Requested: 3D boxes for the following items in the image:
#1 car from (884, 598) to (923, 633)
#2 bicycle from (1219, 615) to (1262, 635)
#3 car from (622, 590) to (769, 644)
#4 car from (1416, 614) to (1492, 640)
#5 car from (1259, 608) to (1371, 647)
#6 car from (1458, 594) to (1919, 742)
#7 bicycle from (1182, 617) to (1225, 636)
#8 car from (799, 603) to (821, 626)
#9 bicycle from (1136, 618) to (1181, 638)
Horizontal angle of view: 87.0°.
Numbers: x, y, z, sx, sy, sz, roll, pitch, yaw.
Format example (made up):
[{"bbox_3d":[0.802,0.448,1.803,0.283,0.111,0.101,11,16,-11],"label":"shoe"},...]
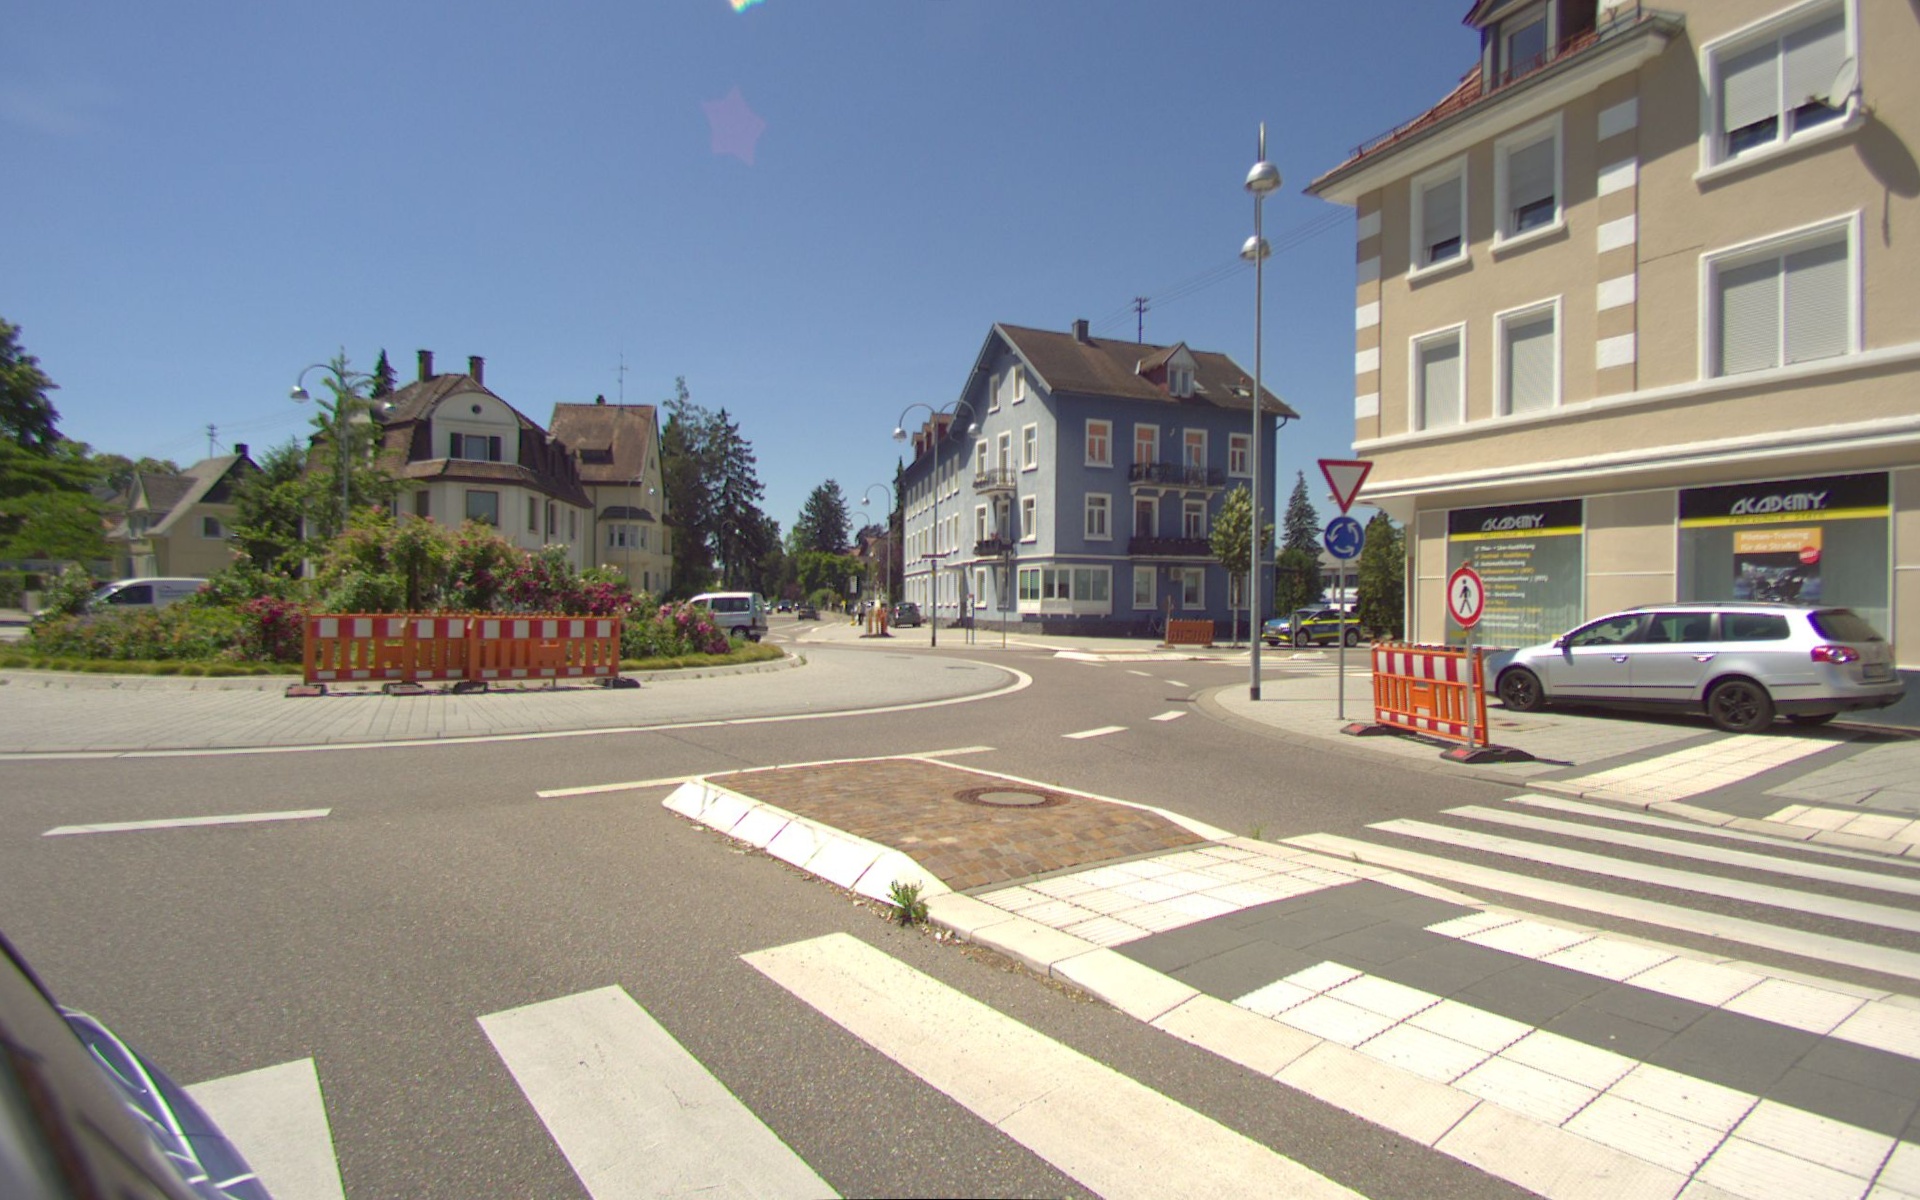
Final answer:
[{"bbox_3d":[-3.467,0.901,61.445,1.968,1.861,4.009,0,2,-9],"label":"car"},{"bbox_3d":[13.865,1.236,49.943,2.050,0.918,0.614,1,-1,-20],"label":"bicycle"},{"bbox_3d":[-9.141,0.567,35.171,4.514,1.750,1.995,1,-1,8],"label":"car"},{"bbox_3d":[31.457,1.693,64.537,1.965,1.475,4.013,2,0,-23],"label":"car"},{"bbox_3d":[14.962,1.141,42.636,4.424,1.581,1.663,1,-1,-22],"label":"car"},{"bbox_3d":[9.218,0.726,13.064,1.769,1.514,4.962,0,-1,-26],"label":"car"},{"bbox_3d":[11.818,1.297,49.054,2.050,0.918,0.614,1,-1,-24],"label":"bicycle"},{"bbox_3d":[-13.956,1.319,93.846,1.968,1.861,4.009,0,2,-9],"label":"car"},{"bbox_3d":[9.324,1.330,47.501,2.050,0.918,0.614,1,-1,-24],"label":"bicycle"}]
